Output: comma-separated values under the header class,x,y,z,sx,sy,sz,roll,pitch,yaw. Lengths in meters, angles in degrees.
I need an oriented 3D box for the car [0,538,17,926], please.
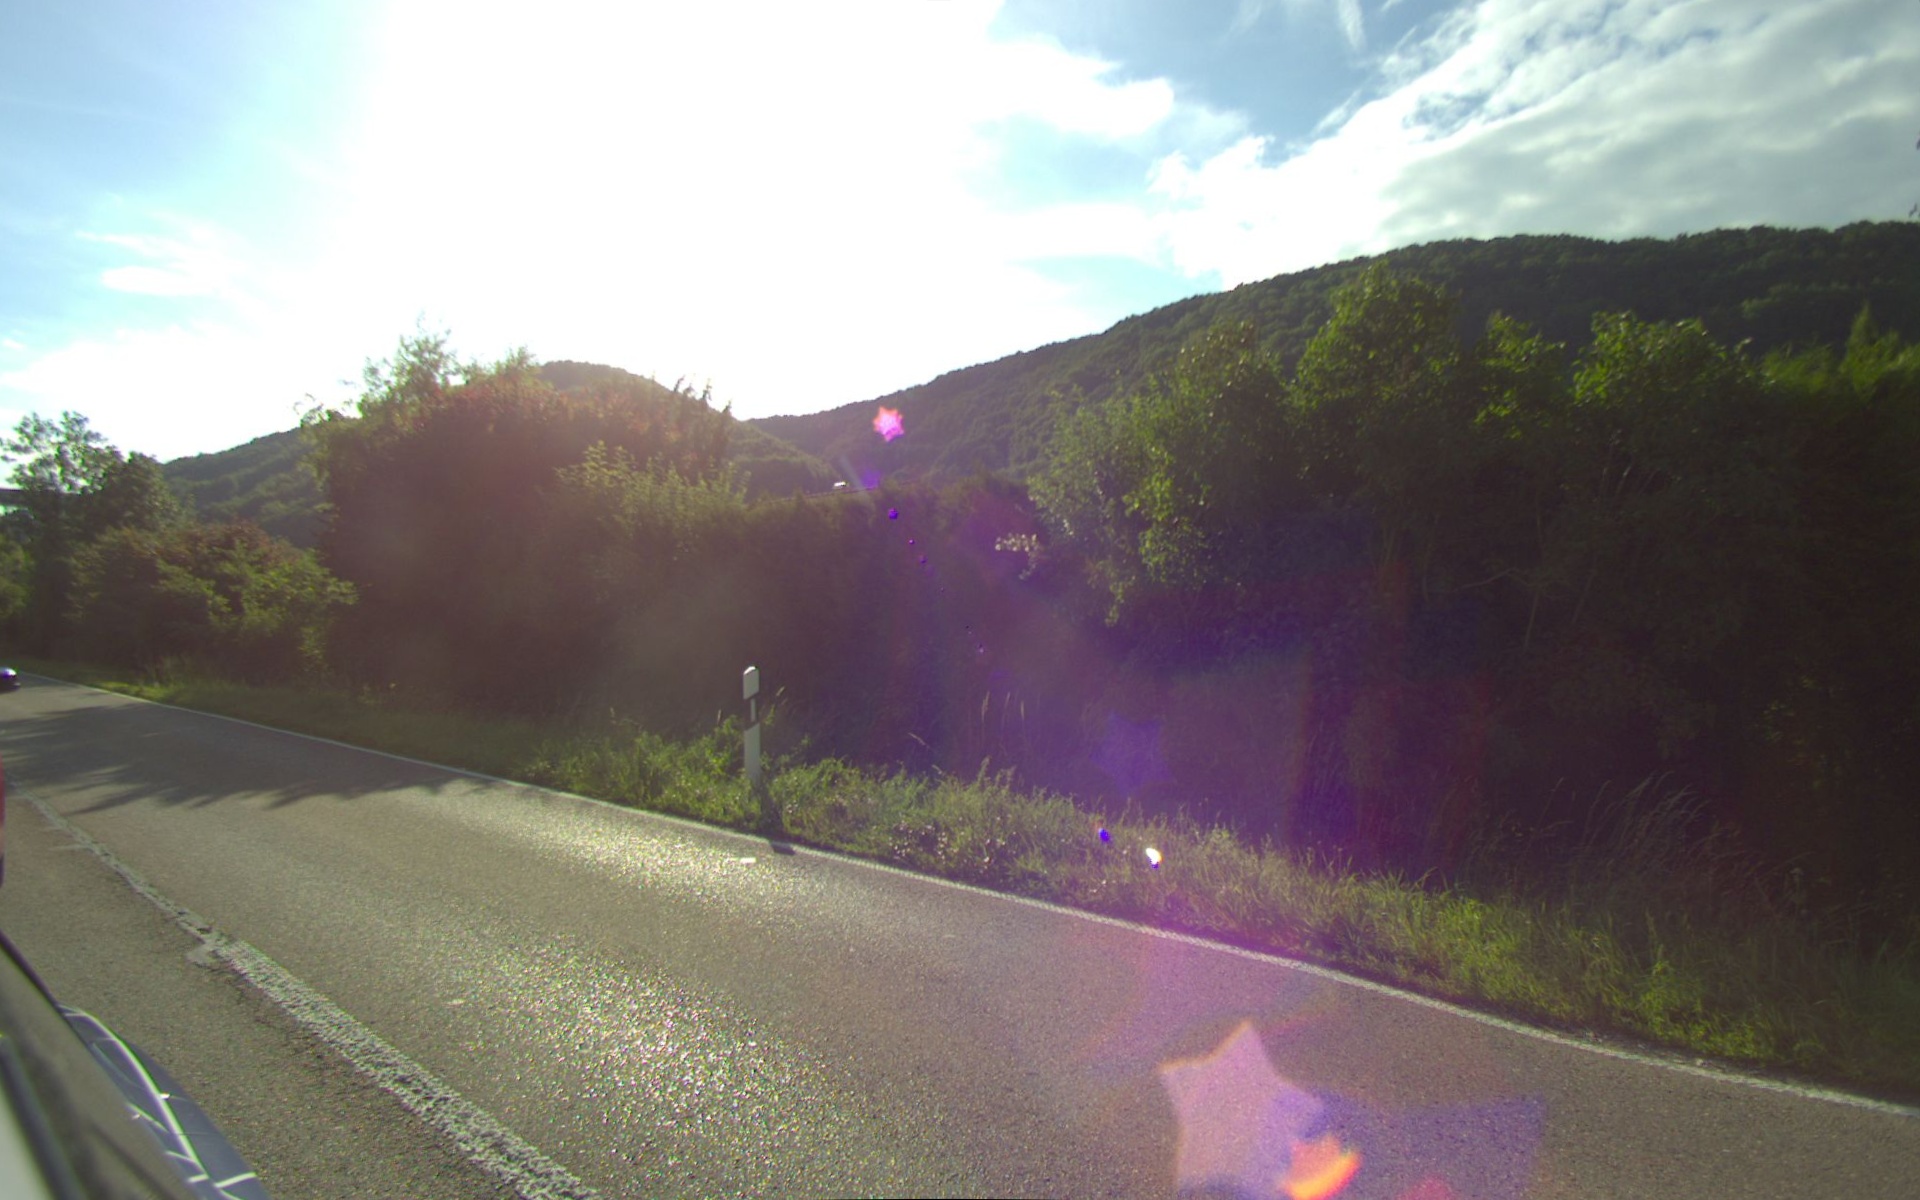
class,x,y,z,sx,sy,sz,roll,pitch,yaw
car,-6.618,0.662,5.485,4.286,1.823,1.731,-1,1,41
